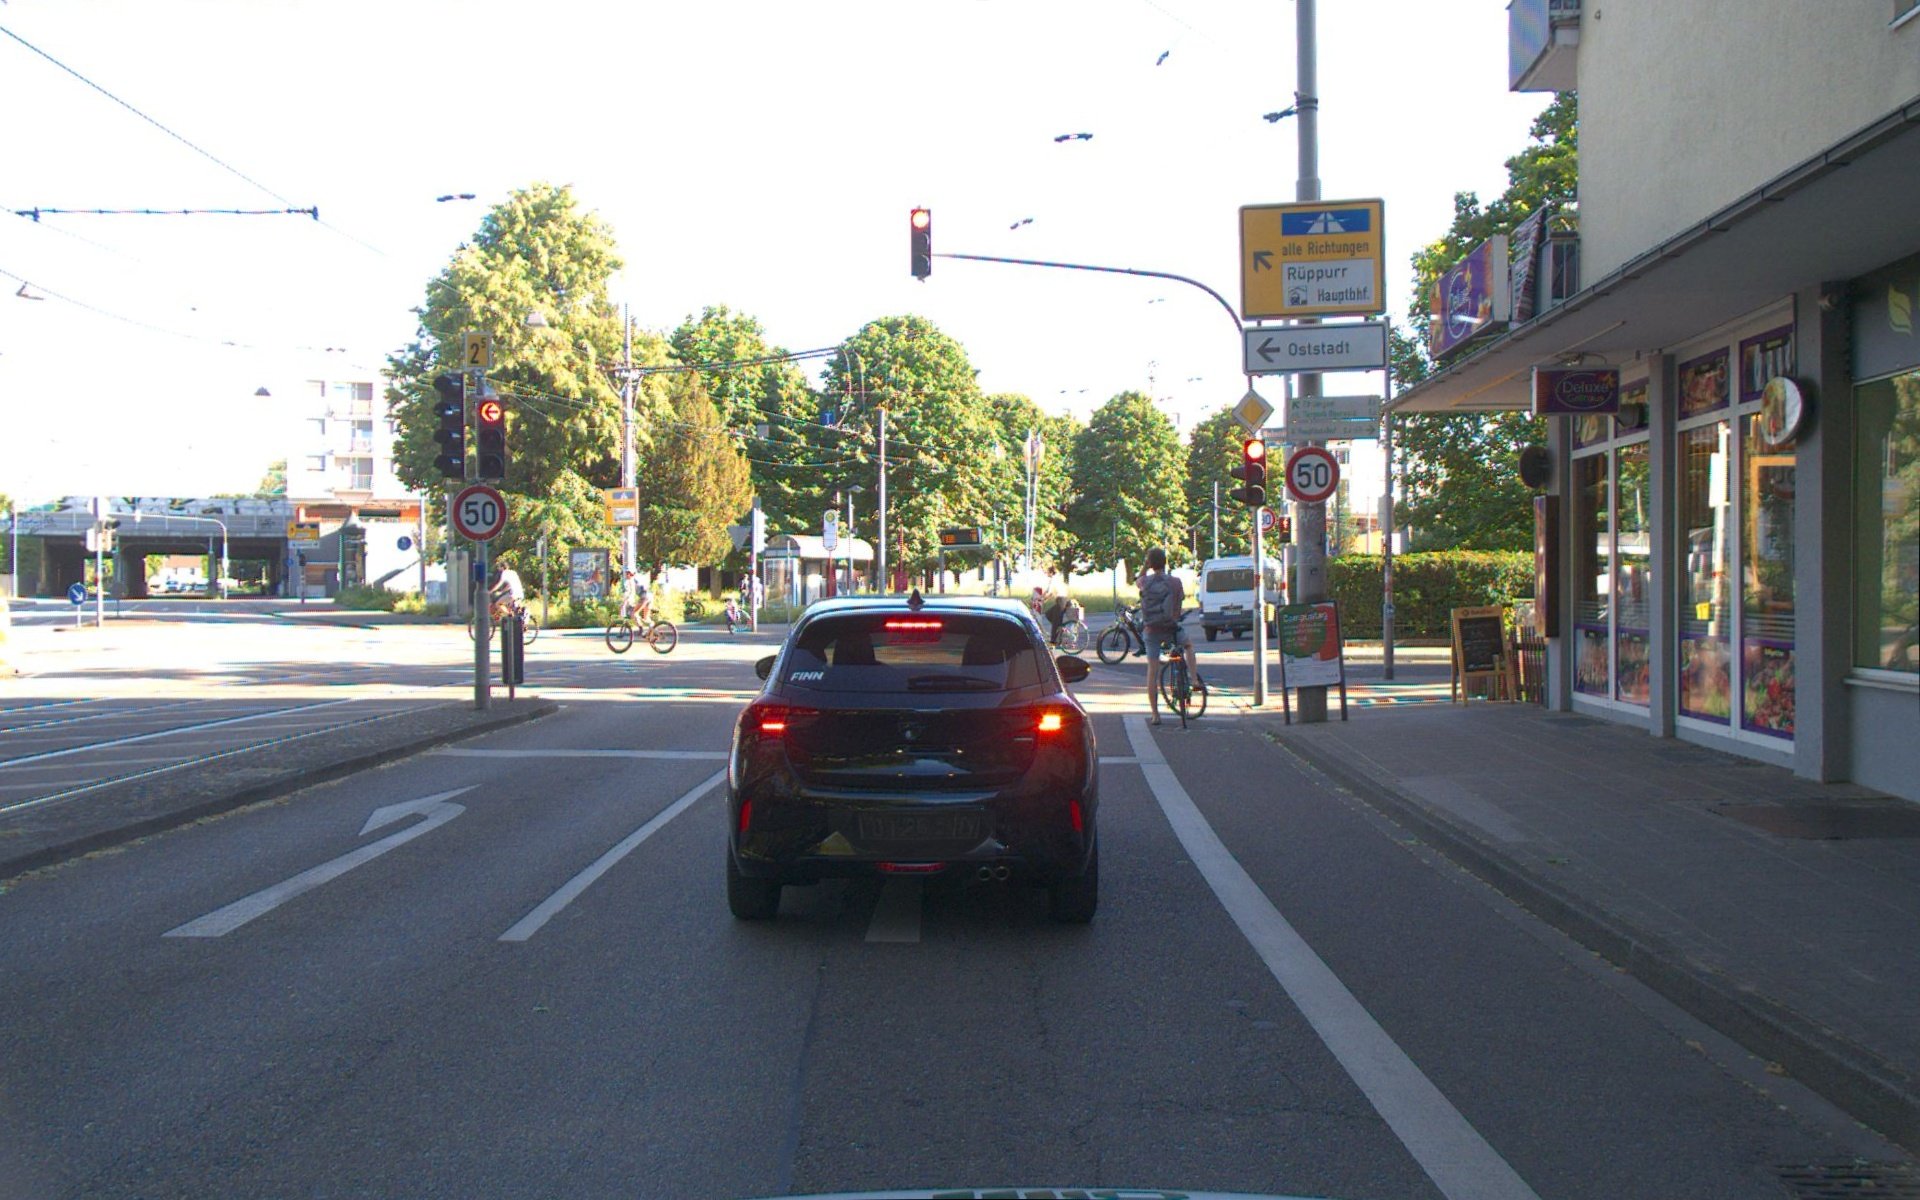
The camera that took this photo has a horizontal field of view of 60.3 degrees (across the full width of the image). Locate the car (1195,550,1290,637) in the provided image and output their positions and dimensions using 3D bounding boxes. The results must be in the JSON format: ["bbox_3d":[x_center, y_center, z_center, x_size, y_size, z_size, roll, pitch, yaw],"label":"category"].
[{"bbox_3d":[8.020,-0.205,46.587,2.020,2.288,4.890,0,1,17],"label":"car"}]

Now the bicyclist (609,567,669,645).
[{"bbox_3d":[-6.706,0.125,34.604,0.988,1.598,0.800,0,0,10],"label":"bicyclist"}]

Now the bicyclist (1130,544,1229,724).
[{"bbox_3d":[2.358,0.349,17.869,0.922,1.883,0.864,-1,0,-1],"label":"bicyclist"}]

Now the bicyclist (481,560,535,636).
[{"bbox_3d":[-10.514,-0.057,38.516,0.907,1.737,0.876,0,0,11],"label":"bicyclist"}]

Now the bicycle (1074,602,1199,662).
[{"bbox_3d":[3.263,0.579,30.633,2.153,1.051,0.831,-1,1,-14],"label":"bicycle"}]

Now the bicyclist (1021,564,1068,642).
[{"bbox_3d":[1.792,0.062,35.025,0.843,1.623,0.649,0,0,19],"label":"bicyclist"}]

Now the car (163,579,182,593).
[{"bbox_3d":[-104.232,-1.830,218.802,2.186,1.855,4.112,-1,1,-26],"label":"car"}]

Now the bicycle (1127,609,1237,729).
[{"bbox_3d":[2.363,0.705,17.890,0.842,1.173,2.171,-1,1,-1],"label":"bicycle"}]

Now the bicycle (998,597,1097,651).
[{"bbox_3d":[1.845,0.506,35.026,2.012,1.113,0.593,0,0,20],"label":"bicycle"}]

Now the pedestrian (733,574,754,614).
[{"bbox_3d":[-9.166,-0.252,69.984,0.735,1.658,0.598,1,0,6],"label":"pedestrian"}]

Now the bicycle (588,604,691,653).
[{"bbox_3d":[-6.698,0.589,34.596,2.014,1.001,0.673,0,0,10],"label":"bicycle"}]

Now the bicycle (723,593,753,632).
[{"bbox_3d":[-6.210,0.344,46.384,0.593,1.049,1.982,0,1,-1],"label":"bicycle"}]

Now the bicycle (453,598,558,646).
[{"bbox_3d":[-10.582,0.510,38.539,2.244,1.103,0.801,0,0,12],"label":"bicycle"}]

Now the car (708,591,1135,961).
[{"bbox_3d":[-0.173,0.692,8.693,1.692,1.454,4.187,1,0,-1],"label":"car"}]

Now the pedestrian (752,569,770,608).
[{"bbox_3d":[-8.429,-0.486,70.027,0.623,1.658,0.572,1,0,6],"label":"pedestrian"}]

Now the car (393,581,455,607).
[{"bbox_3d":[-38.507,-0.459,118.861,4.116,1.836,1.725,-1,1,-22],"label":"car"}]

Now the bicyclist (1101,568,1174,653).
[{"bbox_3d":[3.276,0.186,30.625,1.094,1.547,0.918,-1,0,-14],"label":"bicyclist"}]
